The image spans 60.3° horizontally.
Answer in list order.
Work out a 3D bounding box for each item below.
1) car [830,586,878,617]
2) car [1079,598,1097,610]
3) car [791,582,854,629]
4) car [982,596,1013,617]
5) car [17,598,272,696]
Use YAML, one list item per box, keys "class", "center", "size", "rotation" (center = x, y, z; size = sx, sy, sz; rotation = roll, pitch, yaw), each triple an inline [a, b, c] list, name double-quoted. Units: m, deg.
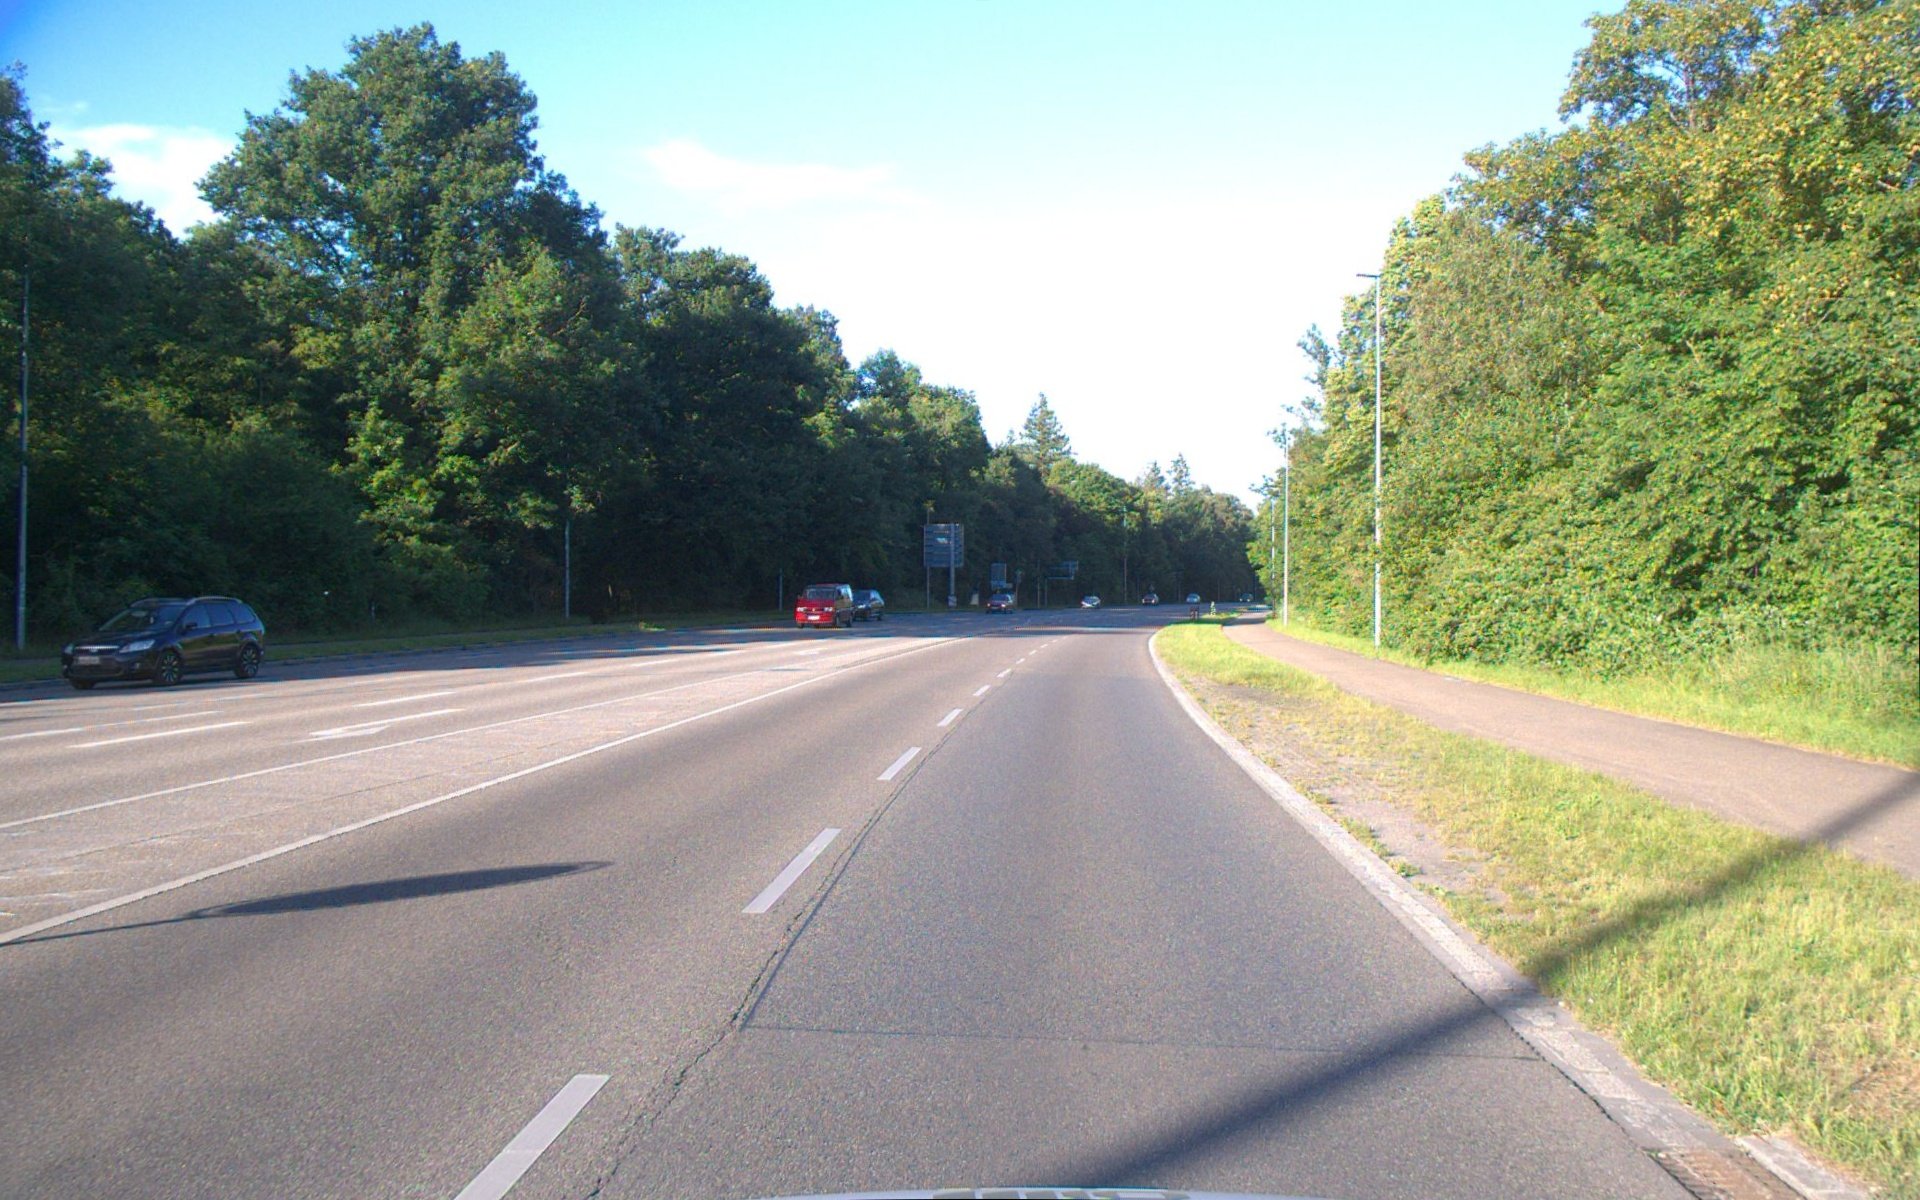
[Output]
- class: "car"
  center: [-5.920, 0.084, 92.731]
  size: [1.951, 1.665, 4.847]
  rotation: [0, 0, 5]
- class: "car"
  center: [13.485, 0.411, 174.136]
  size: [1.707, 1.256, 4.677]
  rotation: [0, 0, 7]
- class: "car"
  center: [-6.082, 0.219, 73.715]
  size: [1.951, 1.996, 4.651]
  rotation: [-1, 0, 5]
- class: "car"
  center: [2.939, 0.508, 128.703]
  size: [1.951, 1.591, 4.341]
  rotation: [0, 0, 7]
- class: "car"
  center: [-14.534, 0.782, 29.824]
  size: [1.951, 1.591, 4.651]
  rotation: [-1, 0, 5]
